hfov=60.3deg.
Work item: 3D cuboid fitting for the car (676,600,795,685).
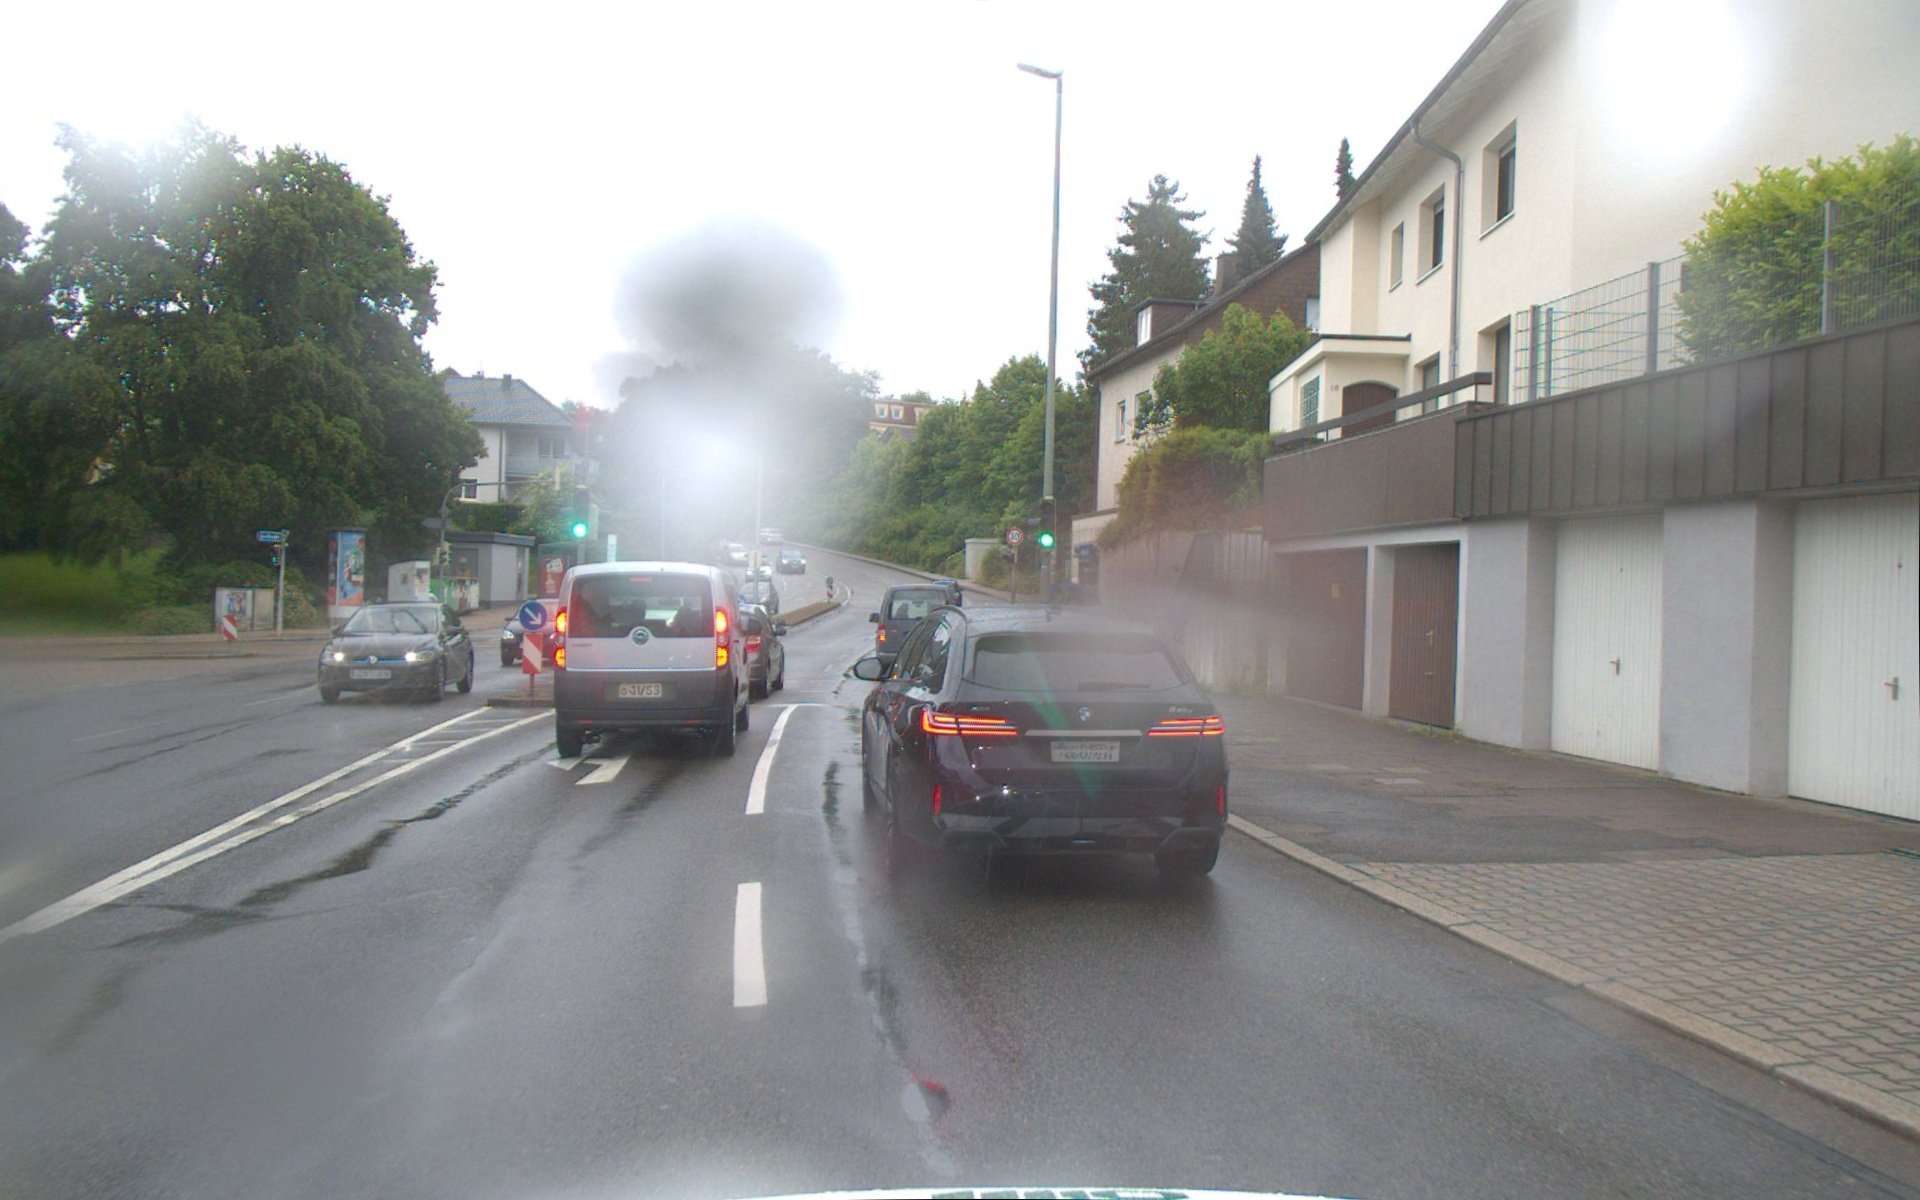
[{"bbox_3d":[-4.368,0.794,32.831,1.870,1.555,4.649,0,0,-2],"label":"car"}]

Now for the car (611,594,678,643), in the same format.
[{"bbox_3d":[-10.532,0.627,55.508,1.800,1.583,4.764,0,-1,-6],"label":"car"}]

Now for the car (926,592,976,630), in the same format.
[{"bbox_3d":[-0.455,0.505,79.648,1.817,1.691,3.993,1,1,-8],"label":"car"}]

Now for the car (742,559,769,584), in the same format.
[{"bbox_3d":[-14.235,-1.992,115.183,1.789,1.686,4.459,0,0,-7],"label":"car"}]

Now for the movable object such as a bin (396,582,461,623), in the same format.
[{"bbox_3d":[-21.296,0.088,66.315,2.014,1.596,1.582,0,2,3],"label":"movable object such as a bin"}]

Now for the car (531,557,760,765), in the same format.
[{"bbox_3d":[-3.181,0.567,17.632,1.913,1.903,4.741,0,0,-5],"label":"car"}]

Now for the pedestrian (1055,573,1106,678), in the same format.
[{"bbox_3d":[2.125,0.452,29.196,0.778,1.811,1.011,-1,-1,-2],"label":"pedestrian"}]

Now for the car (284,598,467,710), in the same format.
[{"bbox_3d":[-8.621,0.757,24.713,1.679,1.529,3.994,1,-1,-6],"label":"car"}]

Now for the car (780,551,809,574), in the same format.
[{"bbox_3d":[-12.408,-2.799,123.727,1.808,1.579,4.373,0,0,-10],"label":"car"}]

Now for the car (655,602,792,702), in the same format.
[{"bbox_3d":[-3.819,0.813,27.314,1.798,1.513,4.057,0,0,-2],"label":"car"}]

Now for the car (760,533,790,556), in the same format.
[{"bbox_3d":[-17.729,-5.249,158.165,1.965,2.049,3.975,0,0,-21],"label":"car"}]

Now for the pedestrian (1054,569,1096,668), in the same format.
[{"bbox_3d":[2.410,0.388,34.590,0.781,2.049,0.734,1,-1,-2],"label":"pedestrian"}]

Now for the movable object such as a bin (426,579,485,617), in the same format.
[{"bbox_3d":[-21.153,-0.074,69.384,2.014,1.541,1.345,0,2,3],"label":"movable object such as a bin"}]

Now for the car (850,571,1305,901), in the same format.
[{"bbox_3d":[0.457,0.746,10.572,1.956,1.614,4.654,2,-2,-8],"label":"car"}]

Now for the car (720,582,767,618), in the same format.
[{"bbox_3d":[-9.975,0.021,76.314,1.954,1.601,3.996,0,-1,-5],"label":"car"}]

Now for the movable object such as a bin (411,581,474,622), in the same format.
[{"bbox_3d":[-21.237,0.052,67.913,2.014,1.596,1.582,0,2,3],"label":"movable object such as a bin"}]

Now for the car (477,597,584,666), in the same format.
[{"bbox_3d":[-9.968,0.698,38.623,1.817,1.489,3.995,1,0,-6],"label":"car"}]

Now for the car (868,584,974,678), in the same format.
[{"bbox_3d":[-0.843,0.596,33.525,1.954,1.779,3.996,0,0,-4],"label":"car"}]
